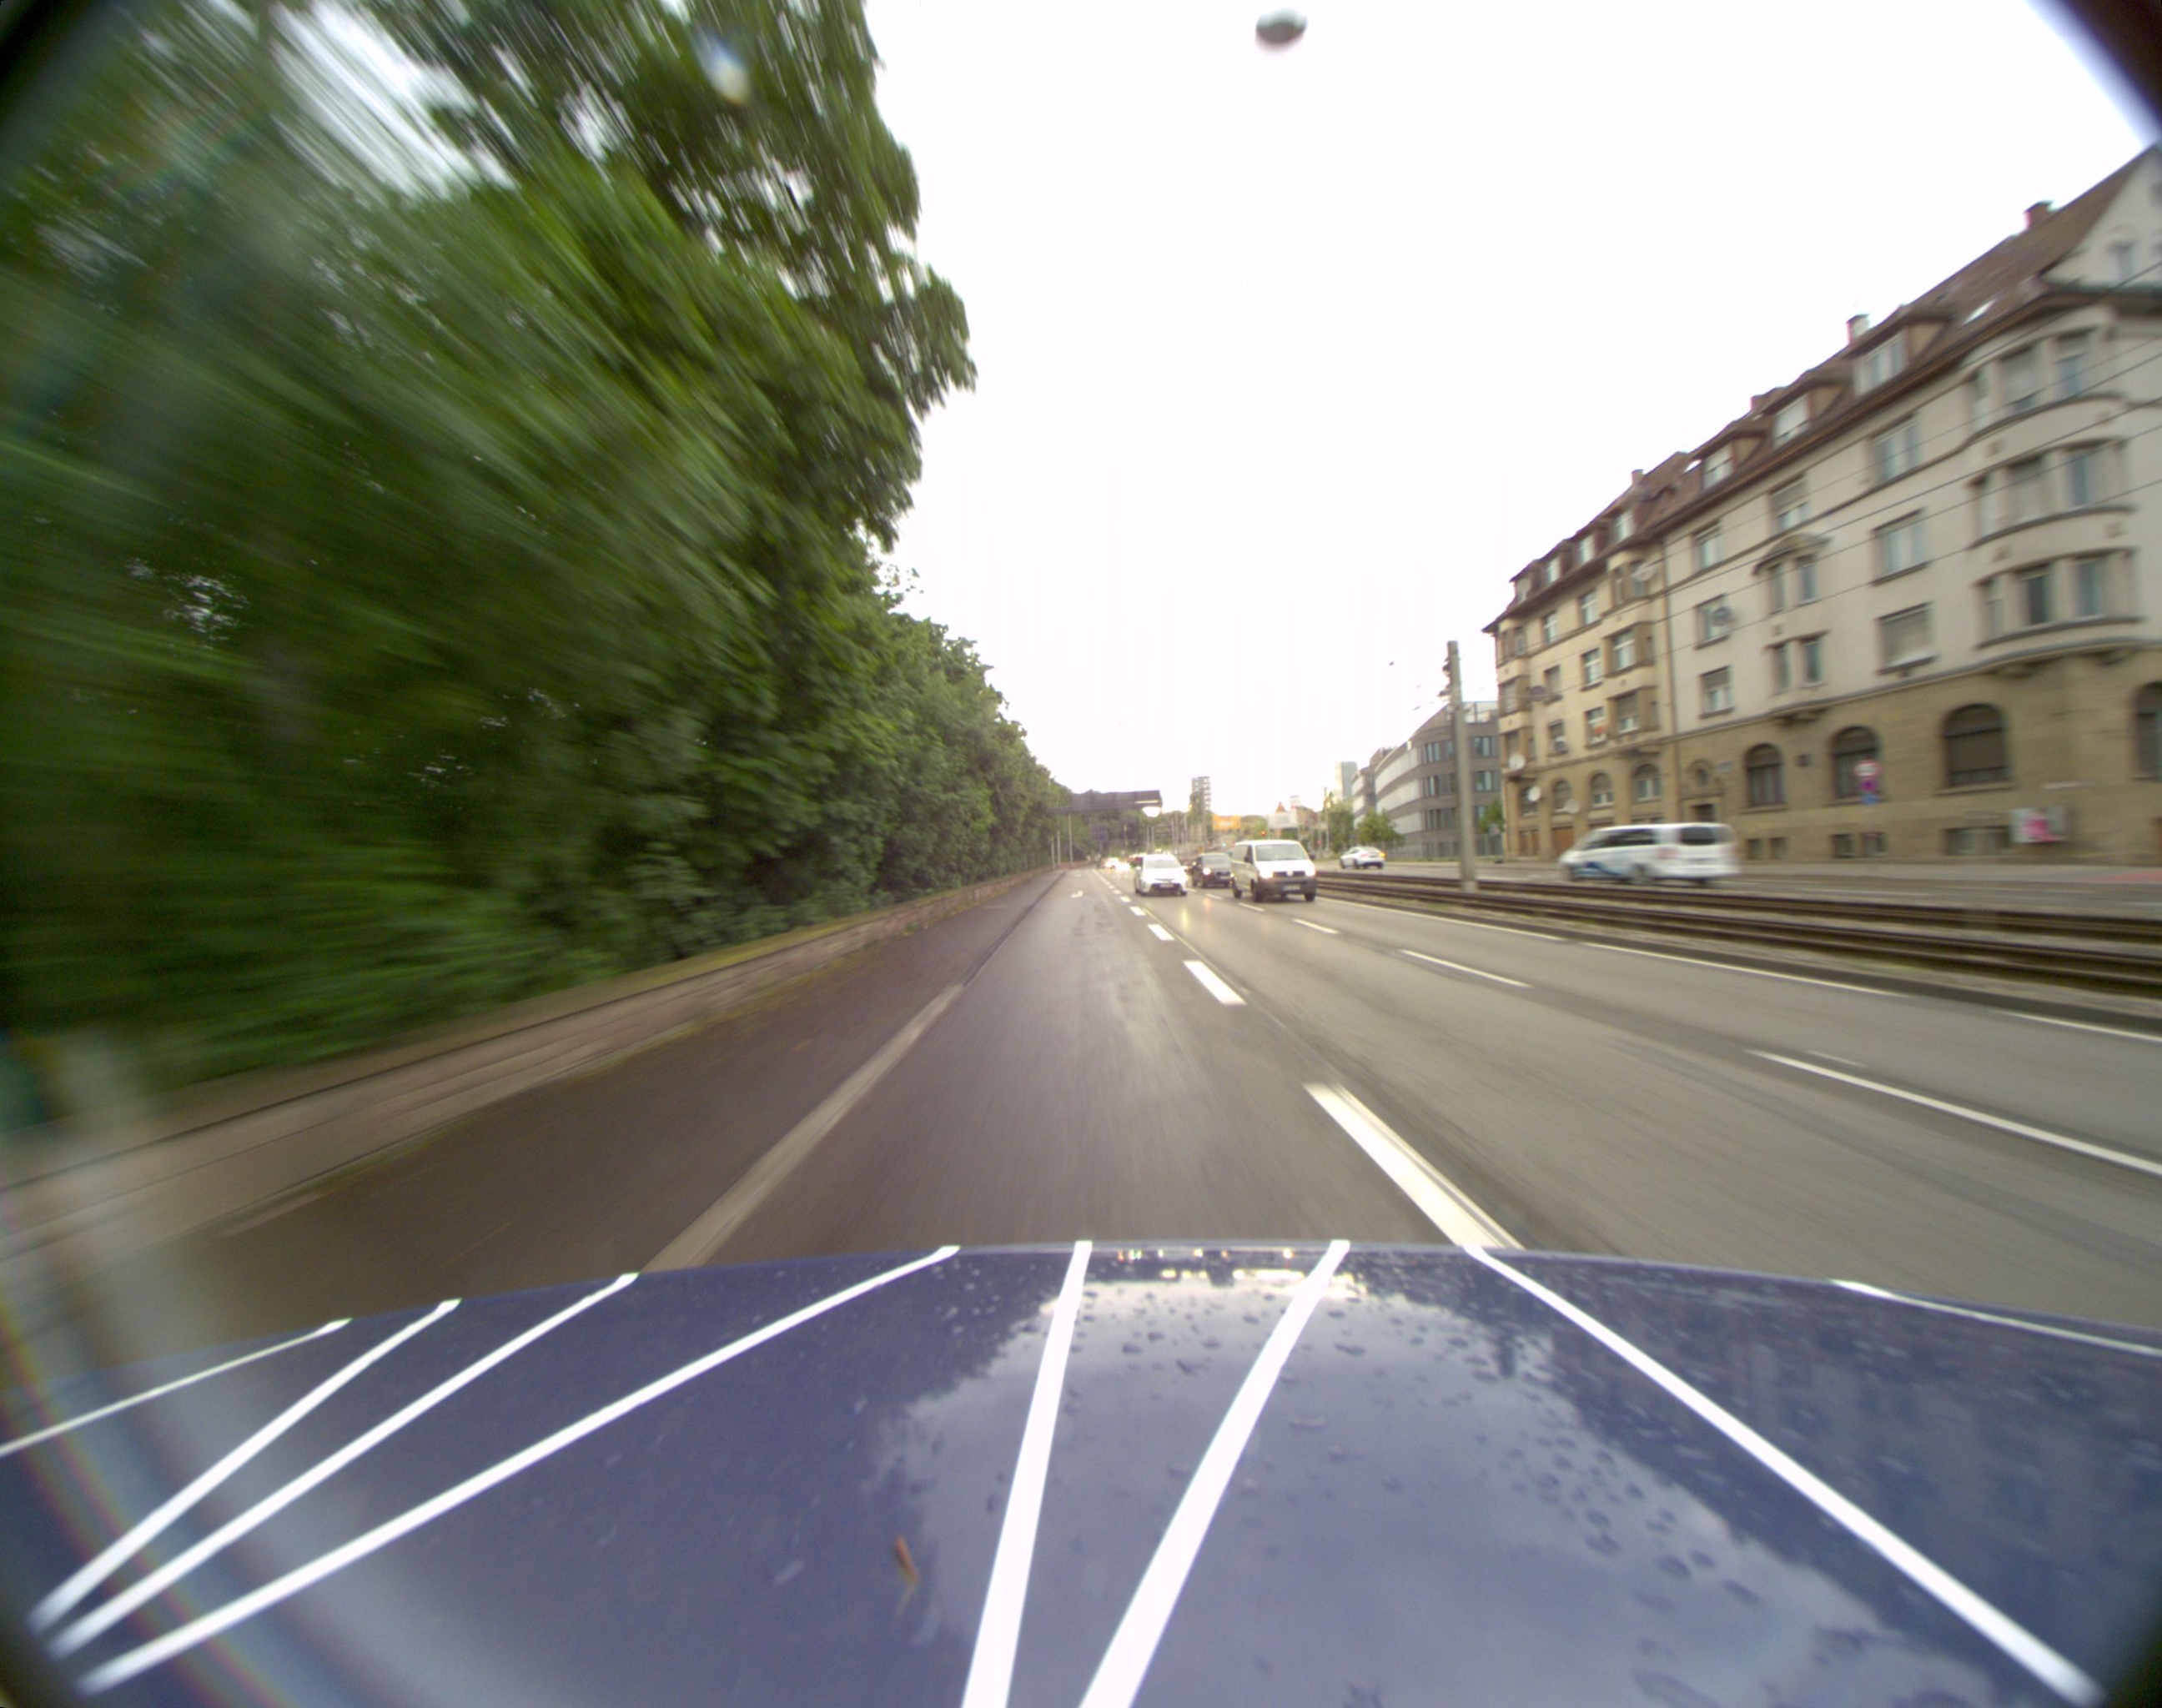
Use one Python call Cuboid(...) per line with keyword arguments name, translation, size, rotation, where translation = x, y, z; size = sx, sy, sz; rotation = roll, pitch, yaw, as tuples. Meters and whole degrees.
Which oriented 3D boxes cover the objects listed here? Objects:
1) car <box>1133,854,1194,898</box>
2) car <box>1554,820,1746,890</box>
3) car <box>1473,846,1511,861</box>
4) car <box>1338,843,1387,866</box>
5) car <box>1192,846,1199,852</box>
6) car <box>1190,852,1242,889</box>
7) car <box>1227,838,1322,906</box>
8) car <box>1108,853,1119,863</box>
Cuboid(name="car", translation=(3.225, 0.814, 30.485), size=(1.982, 1.564, 4.319), rotation=(-2, 0, 0))
Cuboid(name="car", translation=(17.339, 0.022, 23.598), size=(1.999, 1.863, 5.192), rotation=(-2, 0, 0))
Cuboid(name="car", translation=(38.472, -0.099, 71.166), size=(1.622, 1.327, 3.568), rotation=(-2, 1, 0))
Cuboid(name="car", translation=(20.550, 0.054, 55.654), size=(1.725, 1.583, 4.742), rotation=(0, 0, -1))
Cuboid(name="car", translation=(37.899, -1.565, 251.086), size=(1.997, 1.936, 4.002), rotation=(-2, 1, 9))
Cuboid(name="car", translation=(6.203, 0.707, 35.340), size=(1.708, 1.564, 3.896), rotation=(-2, 0, 0))
Cuboid(name="car", translation=(6.240, 0.527, 25.033), size=(1.914, 1.947, 4.718), rotation=(-2, 0, 1))
Cuboid(name="car", translation=(5.387, 0.690, 125.708), size=(1.710, 1.585, 4.000), rotation=(-3, 0, 0))
